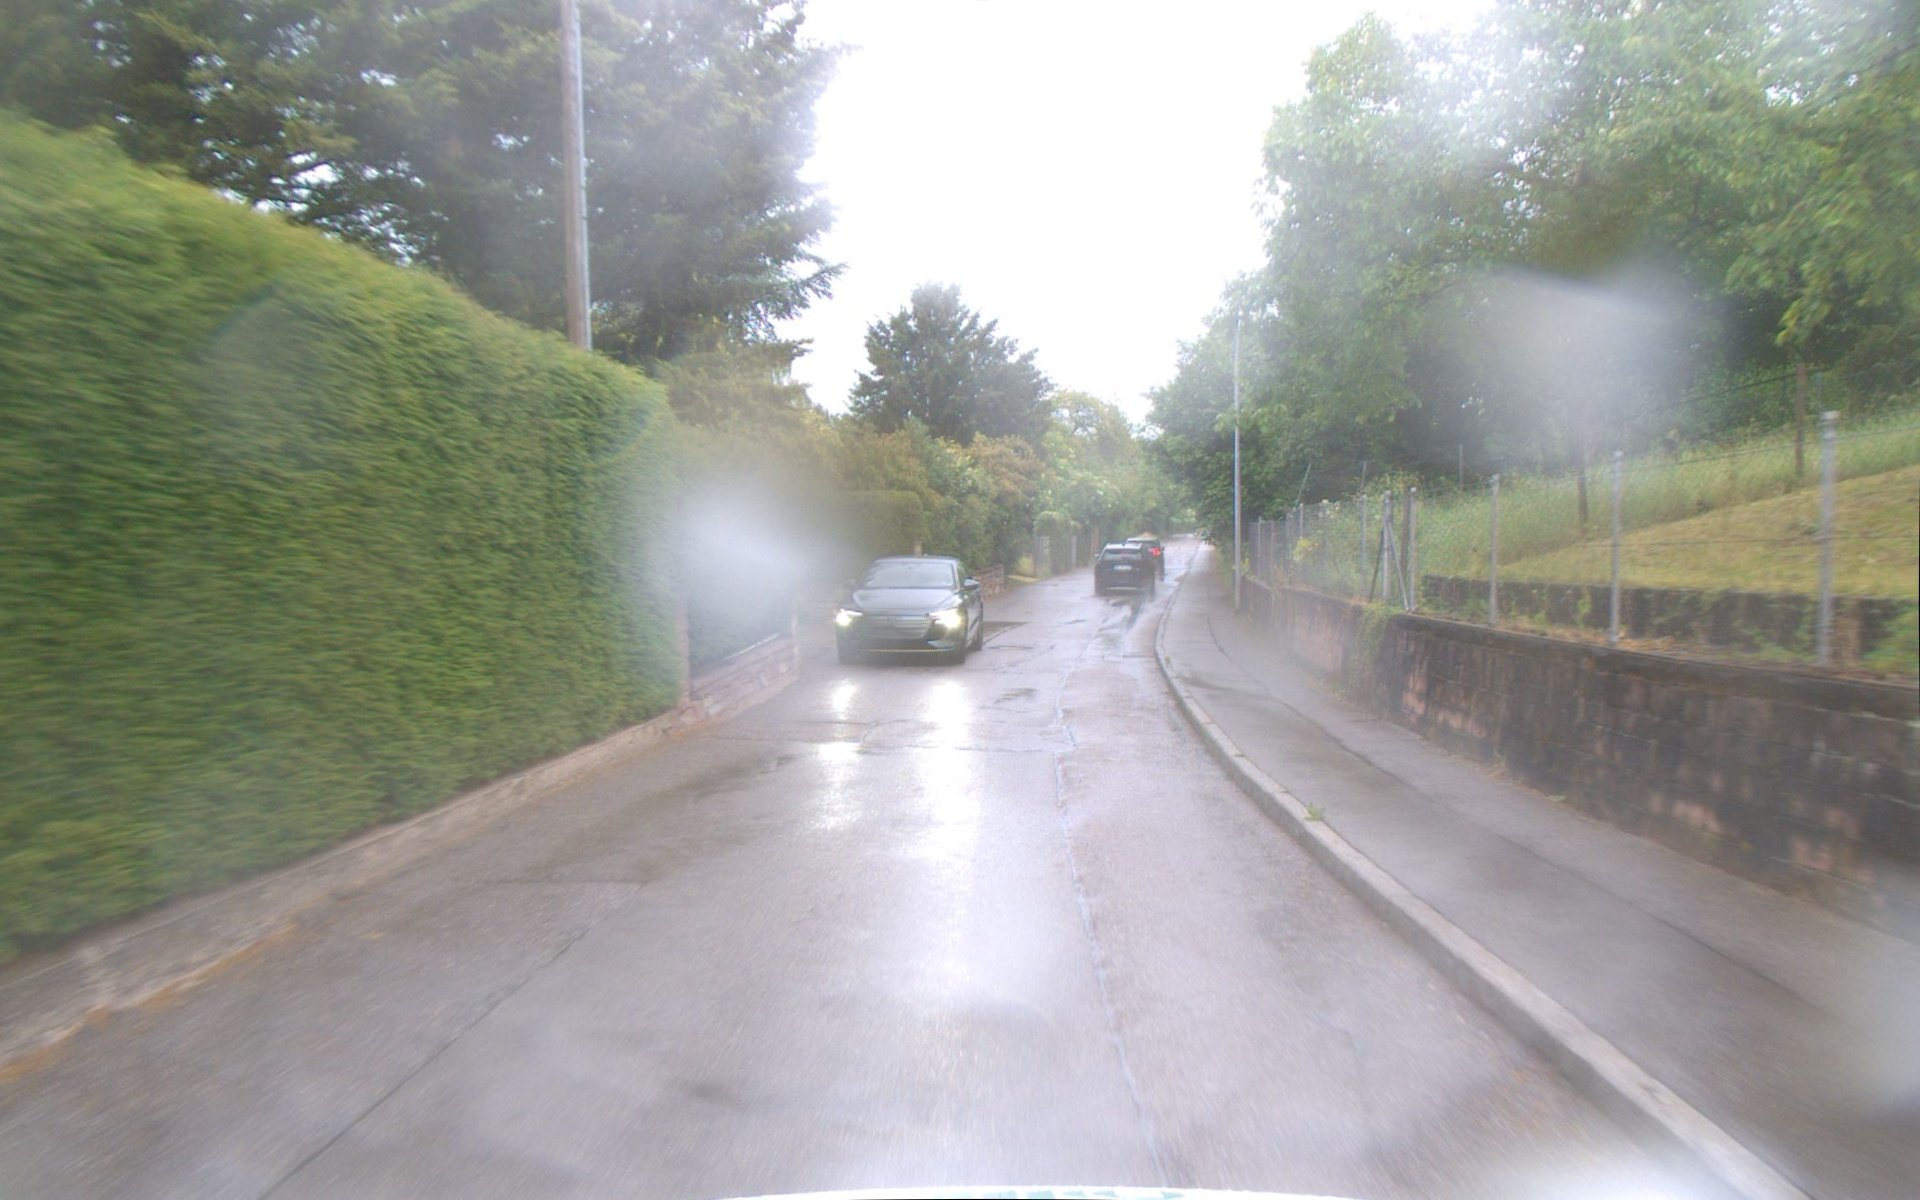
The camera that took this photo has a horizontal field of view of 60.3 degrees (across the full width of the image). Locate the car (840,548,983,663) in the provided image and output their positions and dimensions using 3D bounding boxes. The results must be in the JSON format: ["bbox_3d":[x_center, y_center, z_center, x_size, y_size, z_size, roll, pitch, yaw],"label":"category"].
[{"bbox_3d":[-0.653,0.008,25.342,1.849,1.549,4.424,1,2,2],"label":"car"}]

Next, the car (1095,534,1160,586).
[{"bbox_3d":[5.049,-1.191,49.478,1.600,1.475,3.548,1,2,11],"label":"car"}]

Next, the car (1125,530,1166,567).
[{"bbox_3d":[7.616,-2.111,67.816,1.600,1.438,3.548,1,2,7],"label":"car"}]
